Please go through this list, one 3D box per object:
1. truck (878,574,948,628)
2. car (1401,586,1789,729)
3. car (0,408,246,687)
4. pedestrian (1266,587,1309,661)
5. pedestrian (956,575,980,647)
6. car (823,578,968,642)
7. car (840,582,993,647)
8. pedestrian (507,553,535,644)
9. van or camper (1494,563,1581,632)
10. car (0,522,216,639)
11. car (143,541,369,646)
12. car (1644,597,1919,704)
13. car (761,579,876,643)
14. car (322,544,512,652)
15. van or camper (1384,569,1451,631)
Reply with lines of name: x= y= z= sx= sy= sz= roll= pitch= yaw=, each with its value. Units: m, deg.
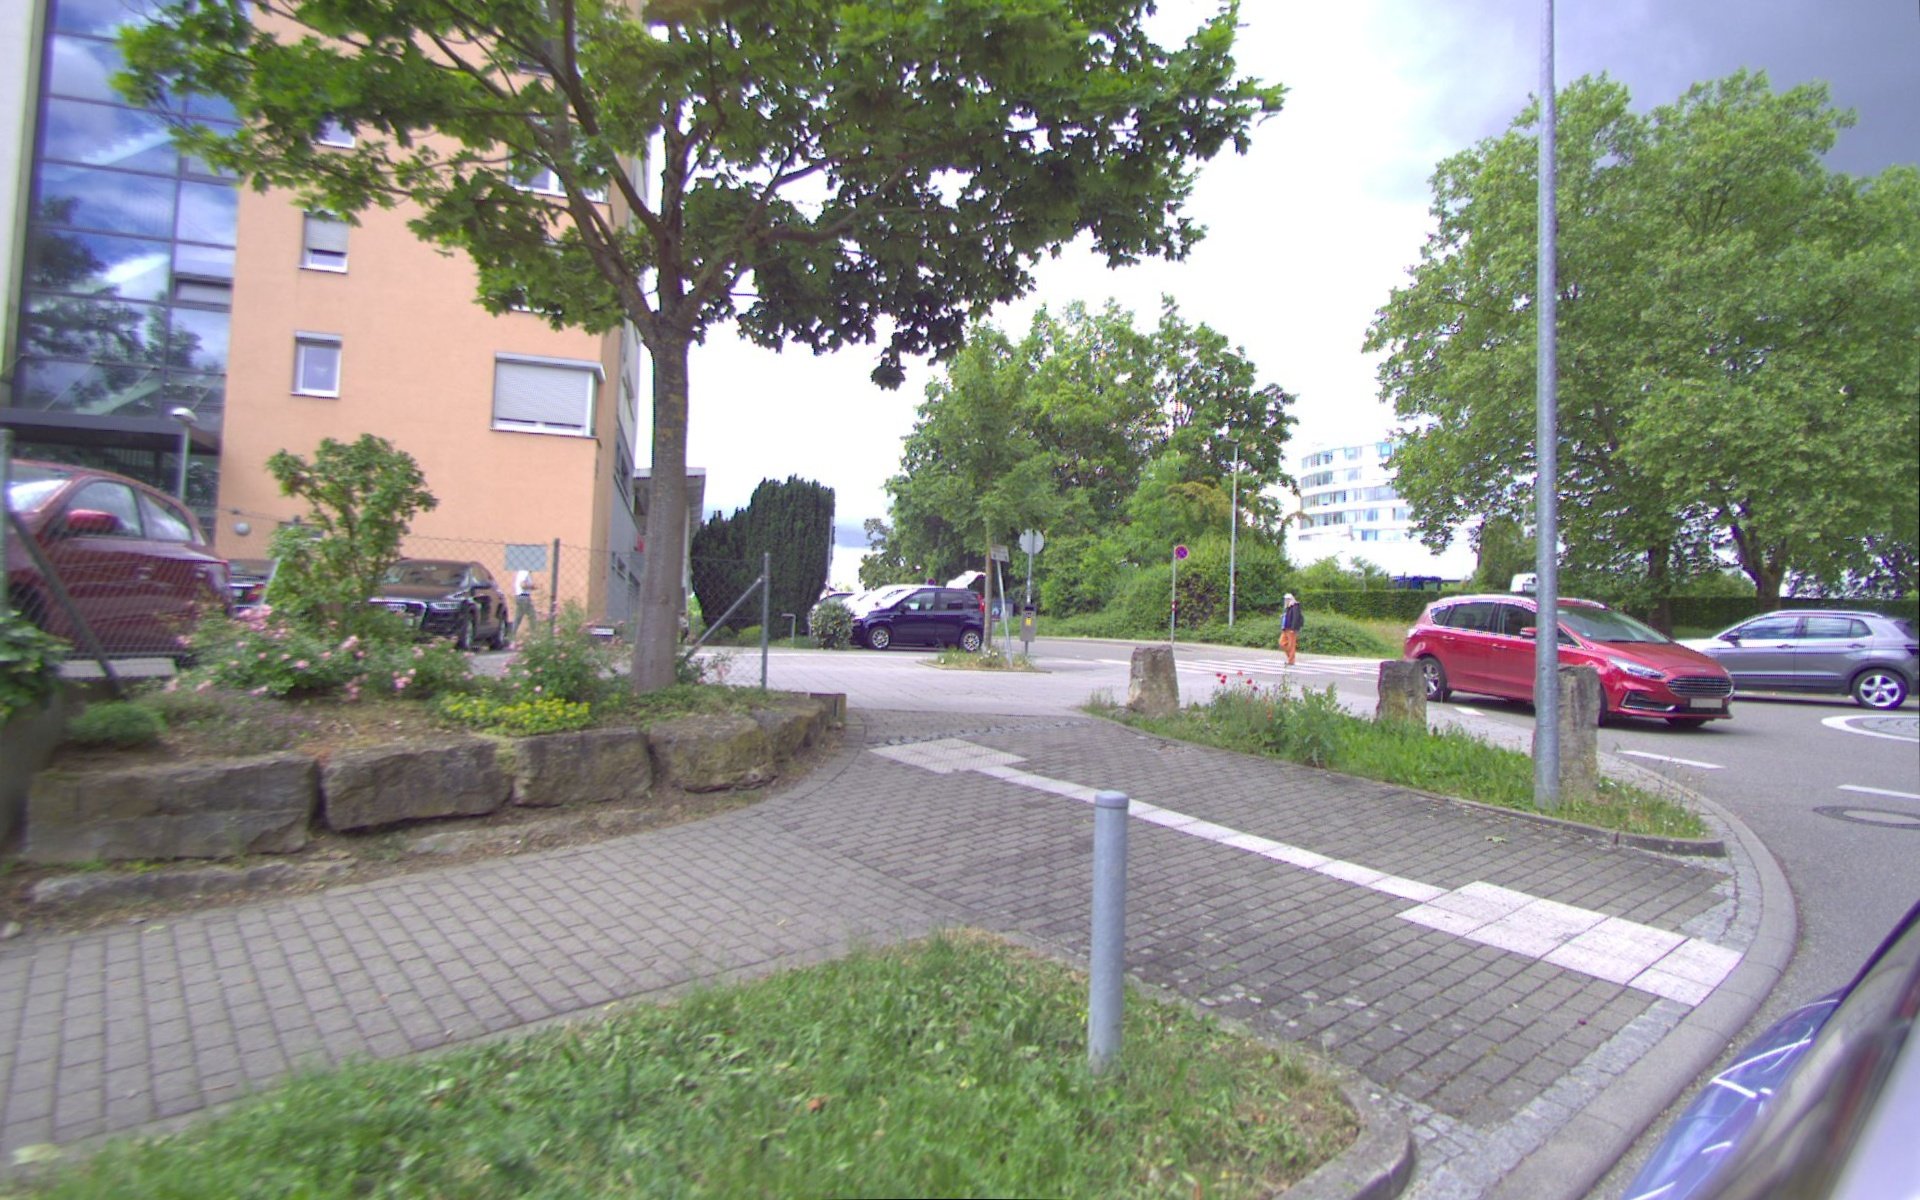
truck: x=-2.540 y=0.123 z=53.321 sx=2.024 sy=2.641 sz=5.818 roll=1 pitch=-2 yaw=-20
car: x=8.578 y=0.669 z=14.284 sx=1.939 sy=1.665 sz=4.545 roll=2 pitch=0 yaw=-13
car: x=-6.265 y=-0.242 z=6.502 sx=1.649 sy=1.458 sz=3.668 roll=1 pitch=-2 yaw=-17
pedestrian: x=7.539 y=0.547 z=23.334 sx=0.826 sy=1.686 sz=0.613 roll=0 pitch=-1 yaw=8
pedestrian: x=0.198 y=0.285 z=26.254 sx=0.474 sy=1.836 sz=0.584 roll=1 pitch=-2 yaw=-15
car: x=-1.783 y=0.268 z=27.659 sx=3.697 sy=1.679 sz=1.576 roll=1 pitch=0 yaw=-16
car: x=-1.067 y=0.349 z=24.509 sx=3.452 sy=1.495 sz=1.508 roll=0 pitch=-1 yaw=-16
pedestrian: x=-9.217 y=-0.023 z=21.255 sx=0.496 sy=1.877 sz=0.480 roll=1 pitch=-3 yaw=-25
van or camper: x=25.006 y=-0.025 z=44.008 sx=2.083 sy=2.835 sz=4.459 roll=0 pitch=-2 yaw=14
car: x=-13.577 y=-0.204 z=16.057 sx=1.657 sy=1.614 sz=4.140 roll=1 pitch=-2 yaw=-19
car: x=-11.319 y=-0.032 z=16.609 sx=1.657 sy=1.478 sz=3.845 roll=1 pitch=-2 yaw=-12
car: x=14.242 y=0.781 z=17.348 sx=3.994 sy=1.638 sz=1.696 roll=1 pitch=0 yaw=42
car: x=-5.129 y=0.429 z=36.542 sx=3.893 sy=2.189 sz=1.833 roll=1 pitch=-2 yaw=-16
car: x=-8.981 y=0.034 z=17.121 sx=1.719 sy=1.537 sz=4.060 roll=3 pitch=-2 yaw=-12
van or camper: x=21.844 y=0.074 z=48.537 sx=2.083 sy=2.835 sz=4.459 roll=0 pitch=-2 yaw=14
